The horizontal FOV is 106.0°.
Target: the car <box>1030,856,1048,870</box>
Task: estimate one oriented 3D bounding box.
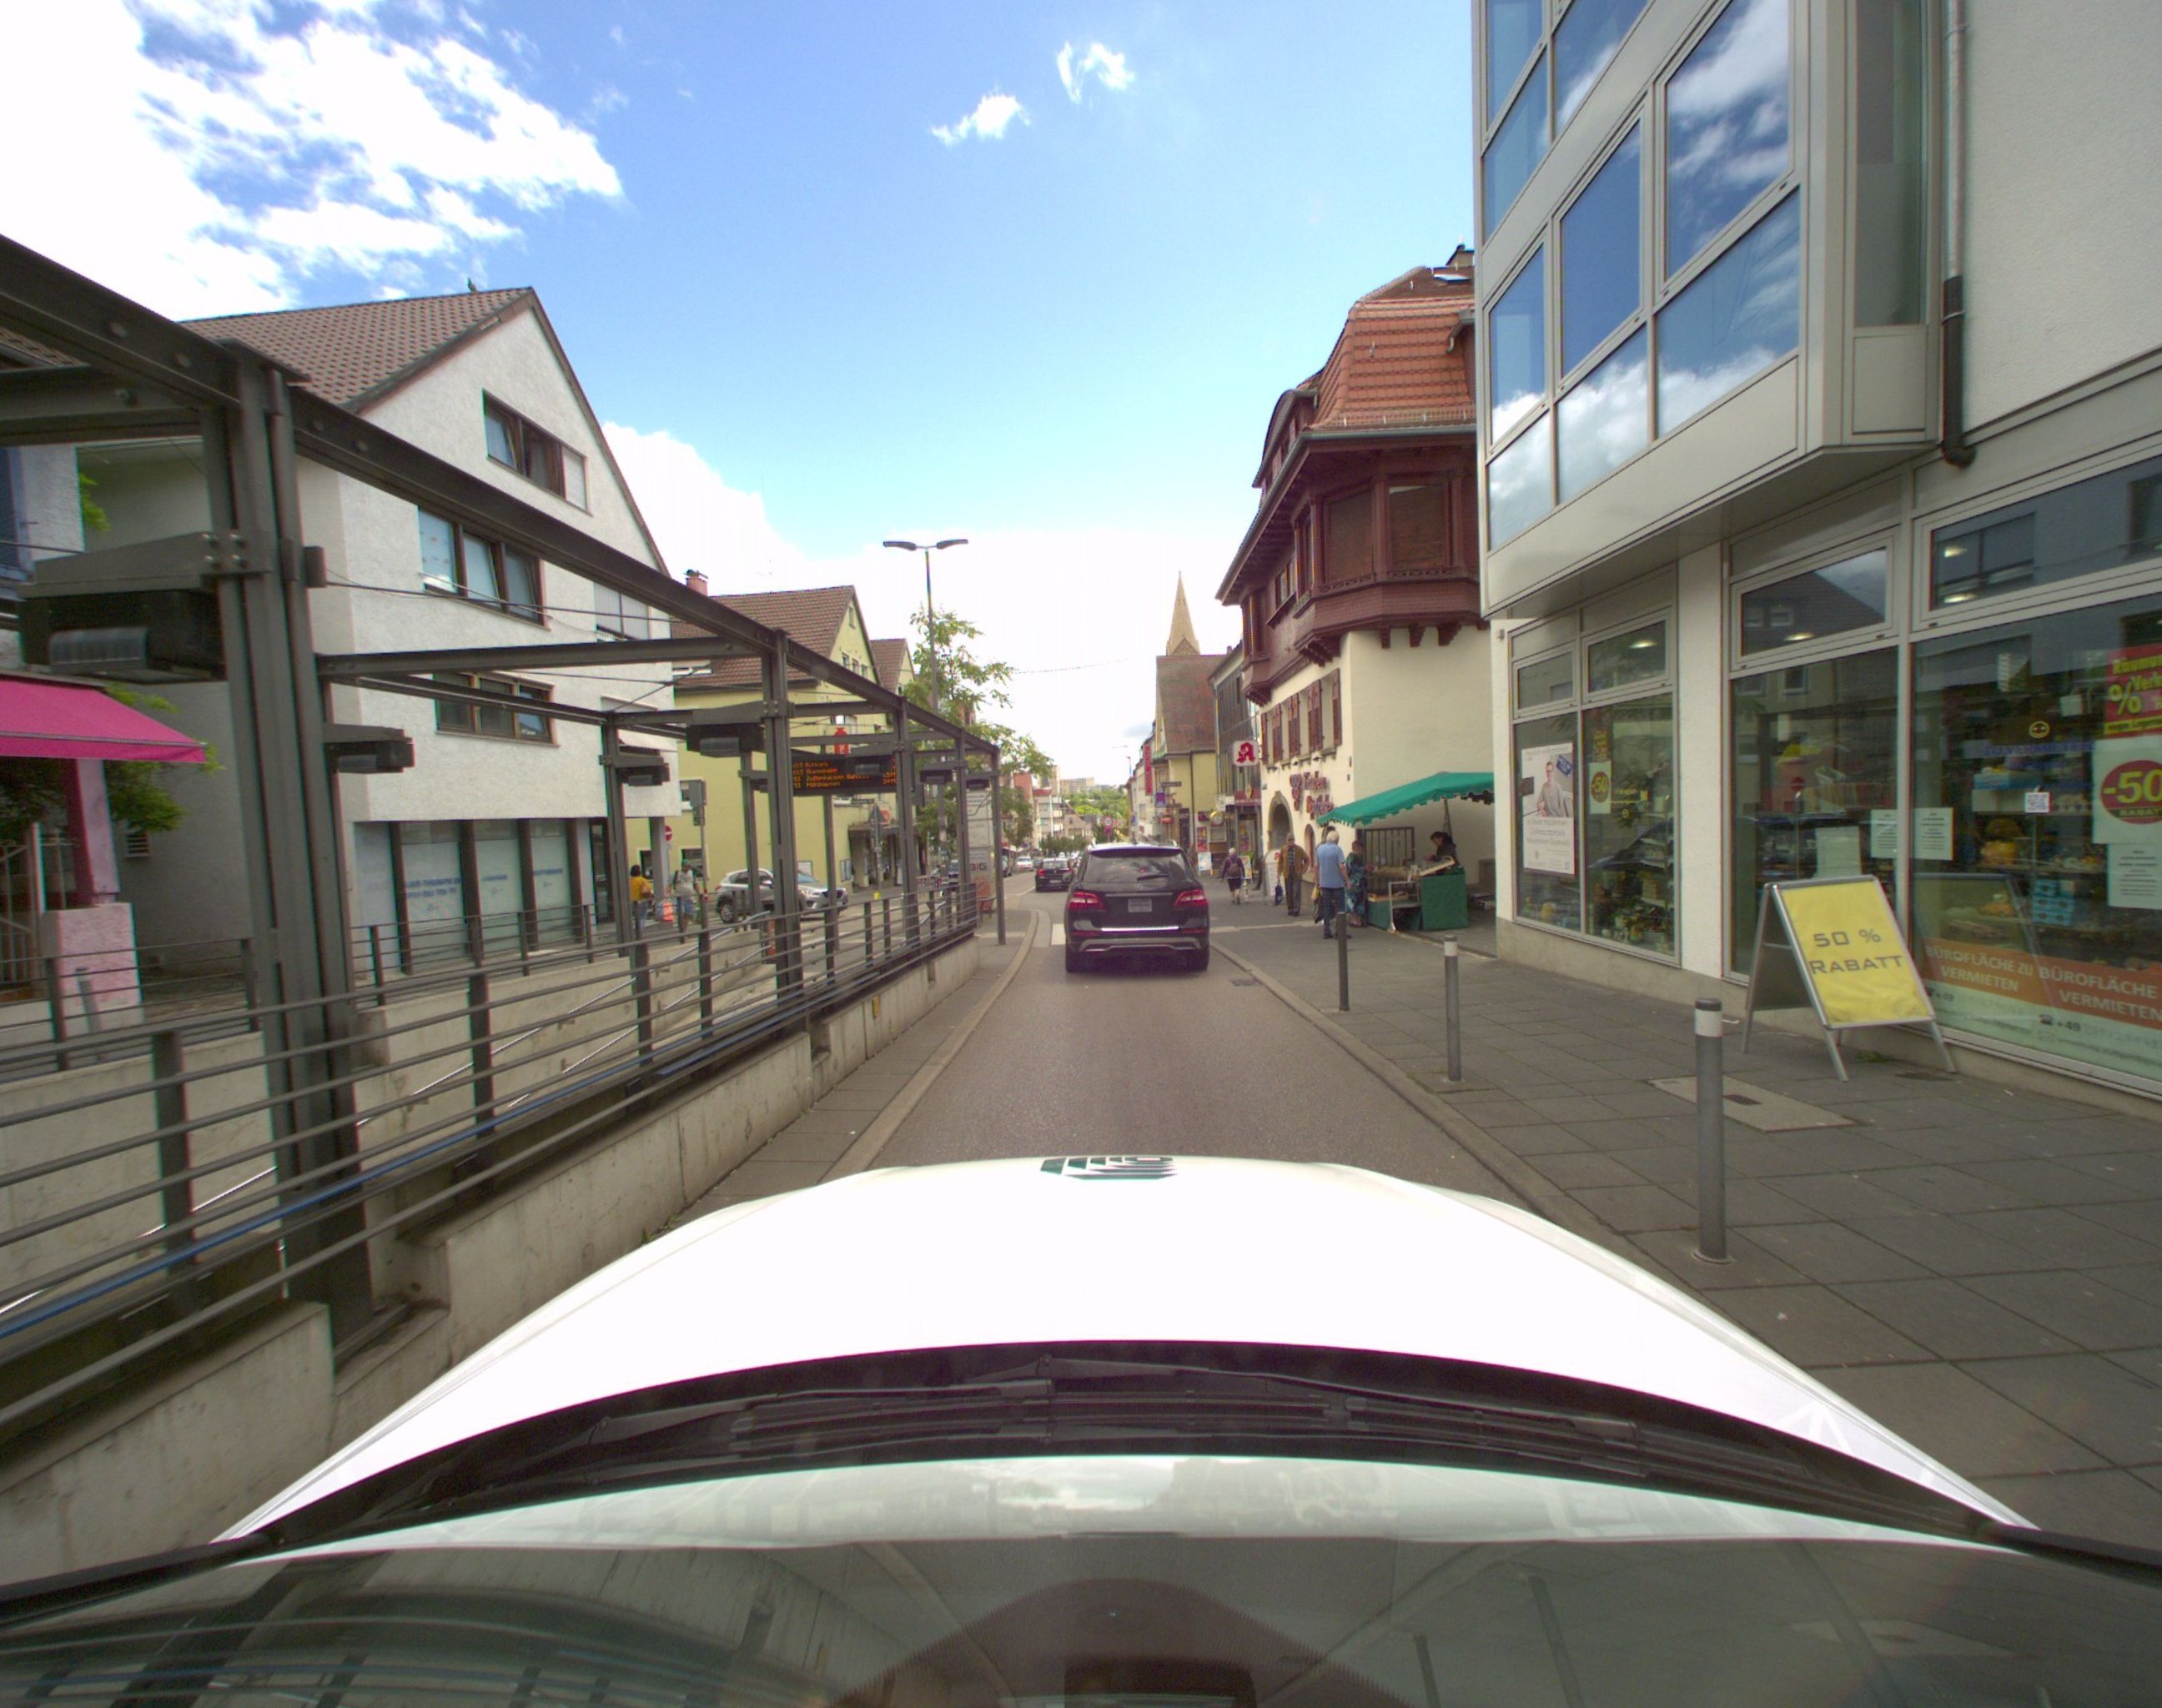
[{"bbox_3d":[-5.027,1.140,97.976,1.920,1.621,4.638,-1,-1,0],"label":"car"}]

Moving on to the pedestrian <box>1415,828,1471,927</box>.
[{"bbox_3d":[6.143,0.383,13.846,0.620,1.612,0.704,-3,0,6],"label":"pedestrian"}]

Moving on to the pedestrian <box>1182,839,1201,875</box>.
[{"bbox_3d":[5.440,0.141,40.038,0.859,1.707,0.947,-3,0,7],"label":"pedestrian"}]

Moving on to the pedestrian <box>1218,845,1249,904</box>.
[{"bbox_3d":[4.111,0.540,22.039,0.720,1.531,0.809,-3,0,7],"label":"pedestrian"}]

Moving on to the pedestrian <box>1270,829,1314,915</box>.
[{"bbox_3d":[4.597,0.383,17.788,0.782,1.801,0.677,-3,0,7],"label":"pedestrian"}]

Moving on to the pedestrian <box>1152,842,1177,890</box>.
[{"bbox_3d":[2.997,0.433,29.185,0.819,1.666,0.803,-3,0,7],"label":"pedestrian"}]

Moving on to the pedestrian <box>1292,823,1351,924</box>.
[{"bbox_3d":[4.595,0.365,15.554,0.771,1.857,0.707,-3,0,44],"label":"pedestrian"}]

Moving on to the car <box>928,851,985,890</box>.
[{"bbox_3d":[-6.092,0.766,40.405,2.000,1.693,4.608,-1,1,1],"label":"car"}]

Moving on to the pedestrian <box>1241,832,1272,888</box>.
[{"bbox_3d":[5.748,0.195,26.703,0.771,1.769,0.818,-3,0,2],"label":"pedestrian"}]

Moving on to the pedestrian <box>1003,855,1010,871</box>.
[{"bbox_3d":[-6.946,0.853,75.765,0.488,1.463,0.561,-3,0,10],"label":"pedestrian"}]

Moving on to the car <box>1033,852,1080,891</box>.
[{"bbox_3d":[-1.029,0.724,35.447,1.779,1.540,3.745,-3,0,1],"label":"car"}]

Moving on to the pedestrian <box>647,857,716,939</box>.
[{"bbox_3d":[-9.194,0.991,18.787,0.909,1.787,0.992,-3,0,17],"label":"pedestrian"}]

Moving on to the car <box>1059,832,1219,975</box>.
[{"bbox_3d":[0.779,0.600,12.116,1.936,1.740,4.180,-1,0,2],"label":"car"}]

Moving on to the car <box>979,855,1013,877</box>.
[{"bbox_3d":[-5.991,0.799,57.998,1.920,1.492,4.842,0,0,0],"label":"car"}]

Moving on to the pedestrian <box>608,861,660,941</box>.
[{"bbox_3d":[-10.278,1.057,18.740,0.635,1.738,0.835,-4,0,-1],"label":"pedestrian"}]

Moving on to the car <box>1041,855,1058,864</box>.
[{"bbox_3d":[-7.513,1.304,194.466,3.978,1.750,1.998,-5,-1,-3],"label":"car"}]

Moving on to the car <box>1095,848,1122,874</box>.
[{"bbox_3d":[1.943,0.473,57.221,1.742,1.607,3.802,-4,0,2],"label":"car"}]

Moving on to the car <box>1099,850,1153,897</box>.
[{"bbox_3d":[1.616,0.665,30.195,1.796,1.555,3.955,-3,0,2],"label":"car"}]

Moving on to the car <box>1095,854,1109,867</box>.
[{"bbox_3d":[3.156,0.995,125.013,1.931,1.891,4.707,-5,0,1],"label":"car"}]

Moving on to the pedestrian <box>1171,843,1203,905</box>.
[{"bbox_3d":[2.913,0.532,22.440,0.768,1.645,0.872,-3,0,7],"label":"pedestrian"}]

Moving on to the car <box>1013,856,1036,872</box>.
[{"bbox_3d":[-5.549,1.005,80.714,1.920,1.511,4.261,-1,0,0],"label":"car"}]

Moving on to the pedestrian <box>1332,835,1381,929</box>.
[{"bbox_3d":[4.884,0.487,14.493,0.620,1.612,0.704,-3,0,6],"label":"pedestrian"}]

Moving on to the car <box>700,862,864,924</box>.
[{"bbox_3d":[-9.085,1.176,24.797,4.306,1.621,1.979,-3,0,18],"label":"car"}]

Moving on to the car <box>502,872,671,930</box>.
[{"bbox_3d":[-16.354,1.508,27.163,4.363,1.569,1.906,-3,0,-14],"label":"car"}]

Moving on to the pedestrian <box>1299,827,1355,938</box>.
[{"bbox_3d":[4.042,0.459,13.362,0.694,1.766,0.629,-3,0,27],"label":"pedestrian"}]

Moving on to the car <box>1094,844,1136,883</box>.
[{"bbox_3d":[1.800,0.434,41.732,1.868,1.799,4.738,-2,0,5],"label":"car"}]

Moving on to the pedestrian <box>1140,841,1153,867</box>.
[{"bbox_3d":[4.522,0.016,56.431,0.793,1.727,1.053,-3,0,1],"label":"pedestrian"}]
